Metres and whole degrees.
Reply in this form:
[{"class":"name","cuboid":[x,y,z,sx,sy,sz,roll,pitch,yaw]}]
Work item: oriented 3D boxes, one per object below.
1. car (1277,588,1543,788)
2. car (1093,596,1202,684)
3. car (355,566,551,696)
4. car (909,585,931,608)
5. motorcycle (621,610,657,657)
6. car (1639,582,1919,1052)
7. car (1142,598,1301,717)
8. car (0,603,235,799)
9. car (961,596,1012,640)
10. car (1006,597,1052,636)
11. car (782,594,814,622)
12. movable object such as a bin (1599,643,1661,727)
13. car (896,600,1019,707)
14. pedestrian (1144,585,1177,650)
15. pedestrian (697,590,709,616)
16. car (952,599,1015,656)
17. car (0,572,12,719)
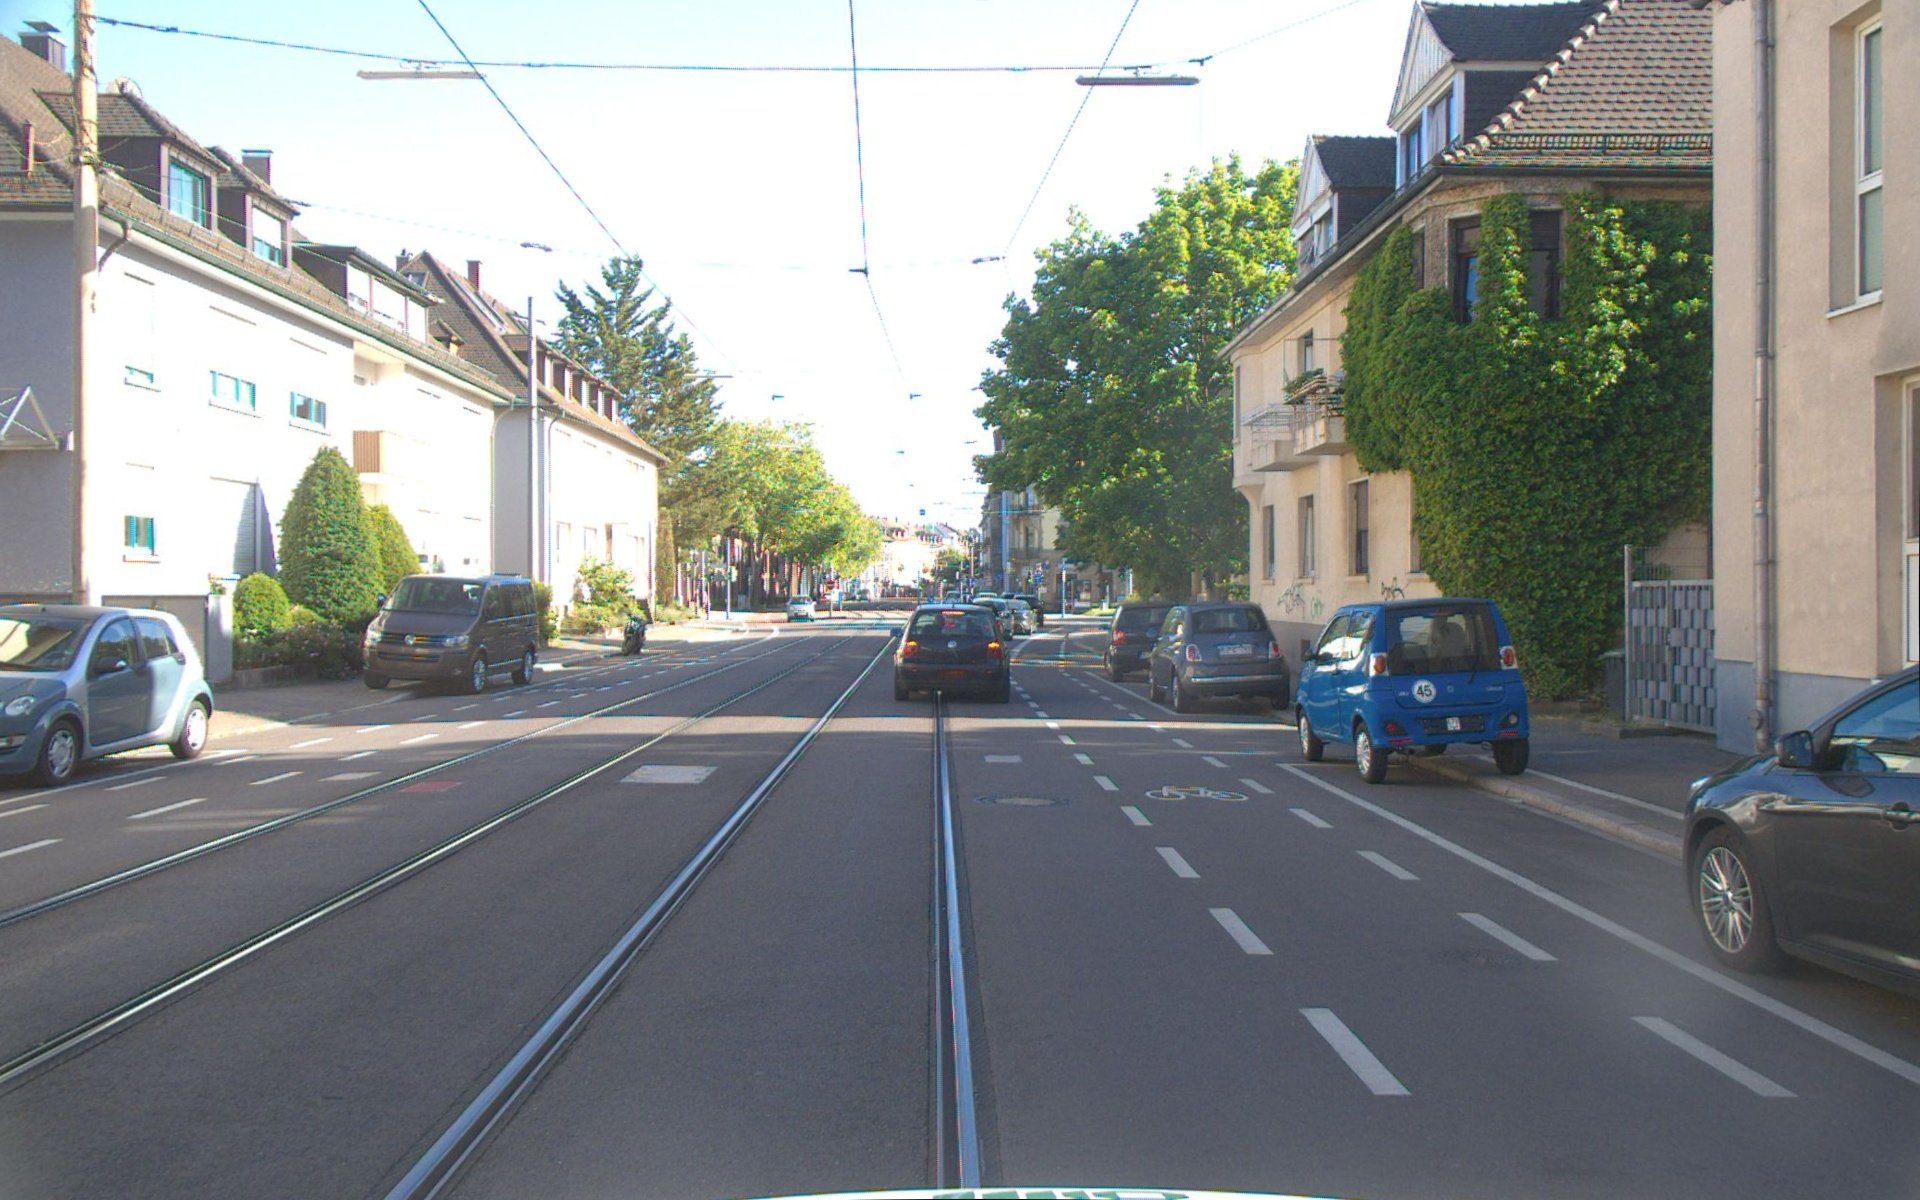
[{"class":"car","cuboid":[4.074,0.726,15.454,1.428,1.627,3.292,1,0,-3]},{"class":"car","cuboid":[3.629,0.736,32.514,1.632,1.591,3.770,1,0,-1]},{"class":"car","cuboid":[-8.816,0.485,29.243,1.867,2.049,4.949,2,0,0]},{"class":"car","cuboid":[-3.343,-0.300,137.982,1.751,1.892,3.998,2,0,-3]},{"class":"motorcycle","cuboid":[-8.658,0.889,44.698,0.525,1.183,2.171,-2,0,-1]},{"class":"car","cuboid":[4.204,0.776,5.703,1.709,1.627,4.431,2,0,-3]},{"class":"car","cuboid":[3.724,0.775,24.099,1.569,1.552,3.547,2,0,-3]},{"class":"car","cuboid":[-8.323,0.814,15.187,1.642,1.503,3.834,2,0,-1]},{"class":"car","cuboid":[0.969,0.592,57.996,1.703,1.466,3.811,0,0,2]},{"class":"car","cuboid":[2.753,0.633,66.514,1.538,1.334,3.646,0,3,-3]},{"class":"car","cuboid":[-8.929,0.439,91.303,1.543,1.503,3.440,-1,0,-2]},{"class":"movable object such as a bin","cuboid":[7.671,0.971,18.957,0.483,0.932,0.514,0,0,-3]},{"class":"car","cuboid":[-0.058,0.740,25.037,1.681,1.427,4.005,2,0,-1]},{"class":"pedestrian","cuboid":[5.395,0.458,44.508,0.703,1.717,0.870,-1,0,-2]},{"class":"pedestrian","cuboid":[-17.520,0.201,112.658,0.600,1.719,0.729,2,0,-19]},{"class":"car","cuboid":[0.596,0.691,43.756,1.601,1.396,3.757,0,0,0]},{"class":"car","cuboid":[-13.713,0.579,19.649,3.846,1.814,1.754,-1,0,-3]}]
